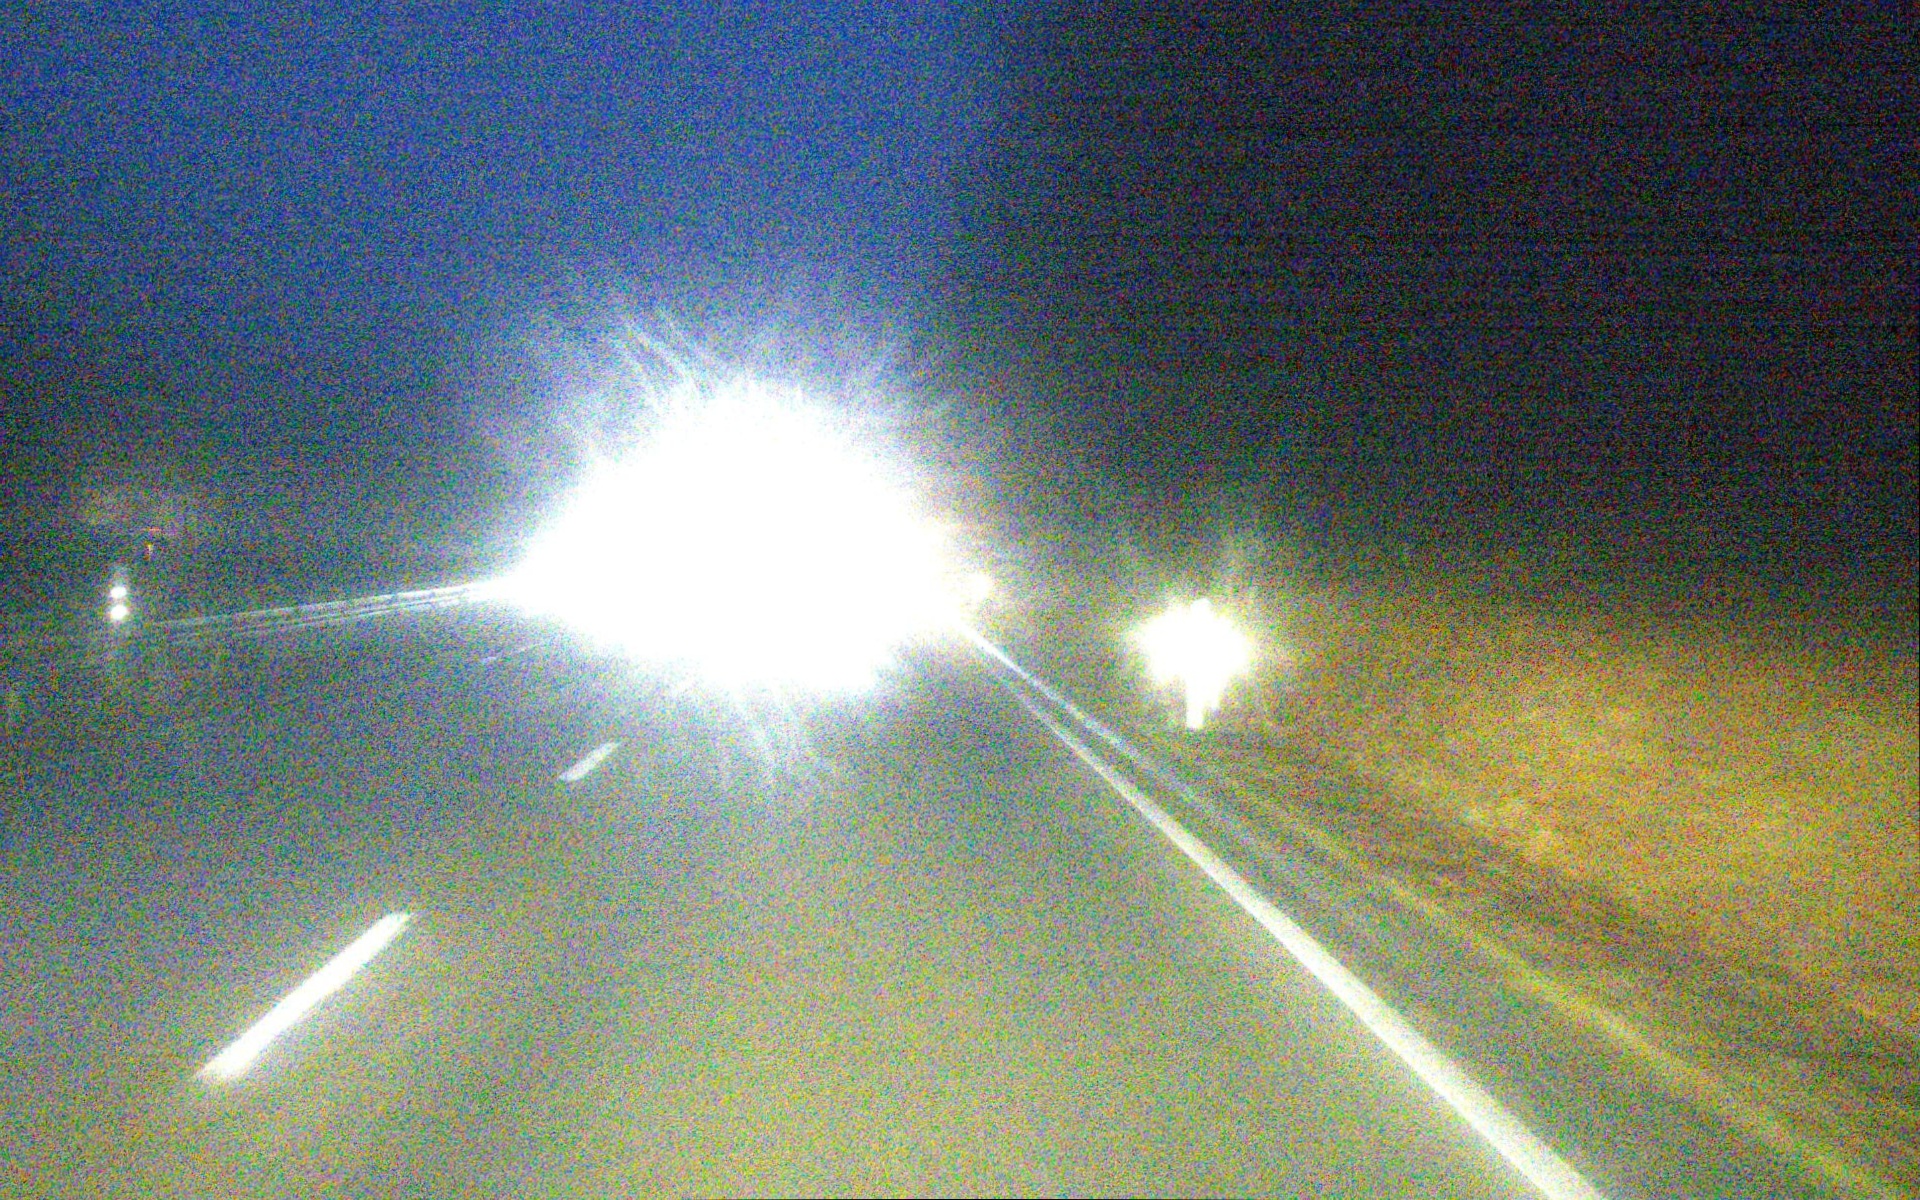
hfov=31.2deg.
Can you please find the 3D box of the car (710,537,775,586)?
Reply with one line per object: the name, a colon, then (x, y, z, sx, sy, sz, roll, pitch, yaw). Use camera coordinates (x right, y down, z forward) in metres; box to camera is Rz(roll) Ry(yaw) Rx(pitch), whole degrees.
car: (-7.607, -1.357, 120.549, 2.097, 1.633, 4.456, 1, 1, -2)
